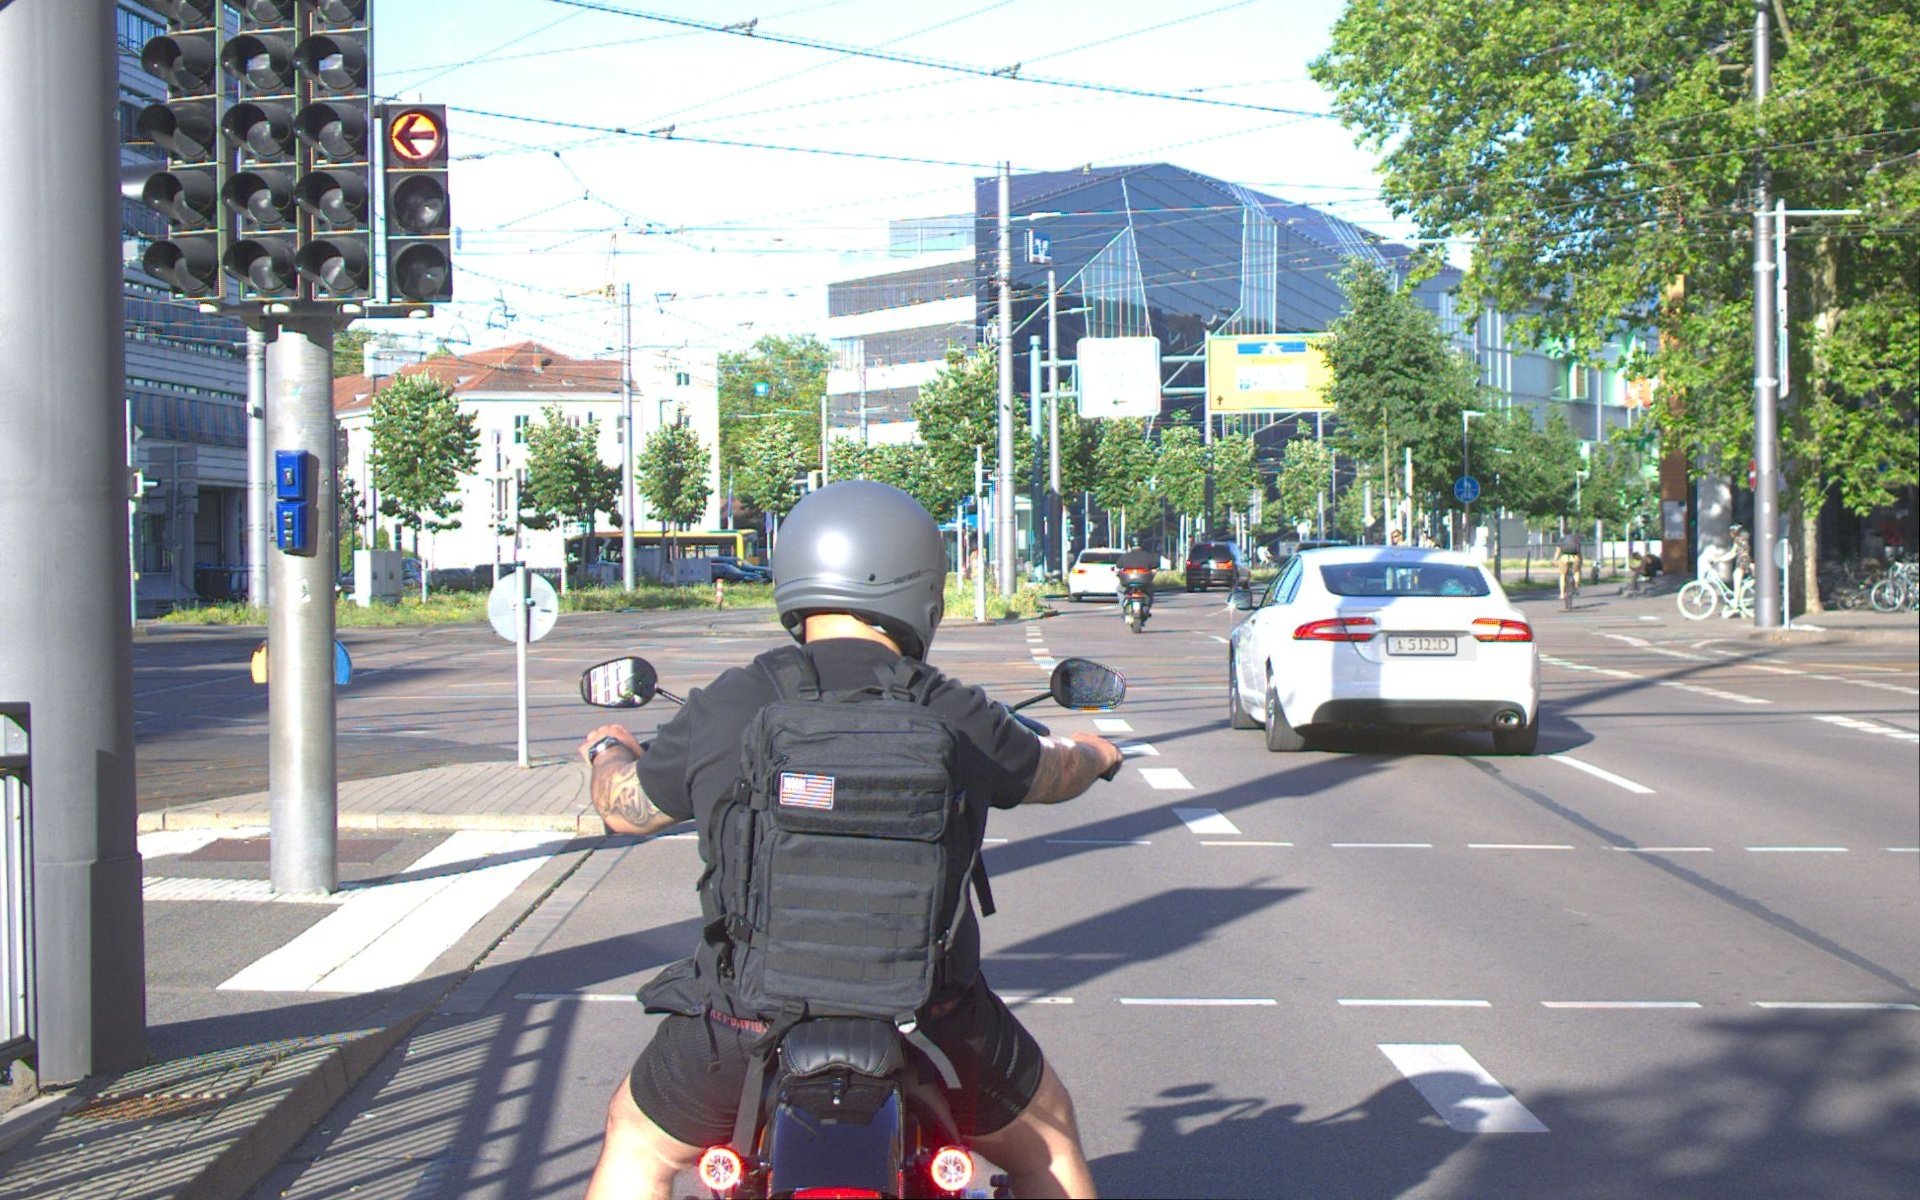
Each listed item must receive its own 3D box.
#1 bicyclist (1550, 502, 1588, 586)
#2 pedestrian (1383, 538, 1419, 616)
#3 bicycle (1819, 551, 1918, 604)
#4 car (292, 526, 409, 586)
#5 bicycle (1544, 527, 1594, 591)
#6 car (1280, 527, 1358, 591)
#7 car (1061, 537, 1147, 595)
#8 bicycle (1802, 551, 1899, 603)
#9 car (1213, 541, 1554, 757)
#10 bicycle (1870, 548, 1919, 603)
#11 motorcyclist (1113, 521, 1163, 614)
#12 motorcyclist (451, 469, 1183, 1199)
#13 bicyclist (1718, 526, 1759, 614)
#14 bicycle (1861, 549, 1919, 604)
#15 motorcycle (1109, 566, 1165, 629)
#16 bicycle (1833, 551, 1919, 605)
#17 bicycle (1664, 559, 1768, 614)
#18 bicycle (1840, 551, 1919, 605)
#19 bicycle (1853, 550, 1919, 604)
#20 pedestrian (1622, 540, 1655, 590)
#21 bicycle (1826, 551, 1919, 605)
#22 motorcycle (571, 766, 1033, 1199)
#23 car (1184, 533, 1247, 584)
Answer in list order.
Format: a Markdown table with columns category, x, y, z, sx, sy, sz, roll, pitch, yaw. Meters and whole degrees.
| category | x | y | z | sx | sy | sz | roll | pitch | yaw |
| --- | --- | --- | --- | --- | --- | --- | --- | --- | --- |
| bicyclist | 13.301 | -1.220 | 75.103 | 0.697 | 1.802 | 0.728 | 1 | 0 | 4 |
| pedestrian | 8.813 | -0.463 | 68.723 | 0.587 | 1.551 | 0.489 | 1 | 0 | -8 |
| bicycle | 18.359 | -0.460 | 69.496 | 1.880 | 1.043 | 0.360 | 1 | 1 | -1 |
| car | -16.232 | -1.160 | 91.734 | 1.750 | 1.519 | 3.998 | 1 | 0 | 11 |
| bicycle | 13.265 | -0.878 | 74.914 | 0.726 | 1.362 | 2.917 | 1 | 0 | 3 |
| car | 10.214 | -1.187 | 97.643 | 1.732 | 1.726 | 4.609 | 1 | 2 | 12 |
| car | 3.843 | -0.884 | 91.026 | 1.732 | 1.452 | 4.416 | 1 | 0 | 9 |
| bicycle | 18.307 | -0.476 | 70.647 | 1.880 | 1.043 | 0.360 | 1 | 1 | -1 |
| car | 2.978 | 0.285 | 25.047 | 1.803 | 1.425 | 4.453 | 0 | 1 | -2 |
| bicycle | 18.396 | -0.458 | 65.724 | 1.880 | 1.043 | 0.360 | 1 | 0 | -1 |
| motorcyclist | 3.053 | -0.562 | 58.964 | 0.796 | 1.574 | 0.529 | 1 | 0 | -1 |
| motorcyclist | -0.205 | 0.603 | 5.308 | 1.030 | 1.588 | 0.873 | 0 | 1 | -1 |
| bicyclist | 14.761 | -0.567 | 65.180 | 0.688 | 1.667 | 0.540 | 0 | 0 | 19 |
| bicycle | 18.426 | -0.449 | 66.507 | 1.880 | 1.043 | 0.360 | 1 | 0 | -1 |
| motorcycle | 3.043 | -0.044 | 59.233 | 0.804 | 1.047 | 2.376 | 1 | 0 | 0 |
| bicycle | 18.392 | -0.436 | 68.511 | 1.880 | 1.043 | 0.360 | 1 | 0 | -1 |
| bicycle | 14.359 | -0.252 | 65.309 | 1.872 | 1.040 | 0.536 | 0 | 0 | 19 |
| bicycle | 18.371 | -0.433 | 67.878 | 1.880 | 1.043 | 0.360 | 1 | 1 | -1 |
| bicycle | 18.488 | -0.440 | 67.323 | 1.880 | 1.043 | 0.360 | 1 | 0 | -1 |
| pedestrian | 17.898 | -0.916 | 90.713 | 0.819 | 1.309 | 0.637 | 1 | 0 | 9 |
| bicycle | 18.377 | -0.451 | 68.996 | 1.880 | 1.043 | 0.360 | 1 | 1 | -1 |
| motorcycle | -0.225 | 0.869 | 5.628 | 0.600 | 1.032 | 2.234 | 1 | 1 | -1 |
| car | 8.851 | -1.414 | 118.899 | 1.804 | 1.672 | 4.039 | 1 | 0 | 9 |
